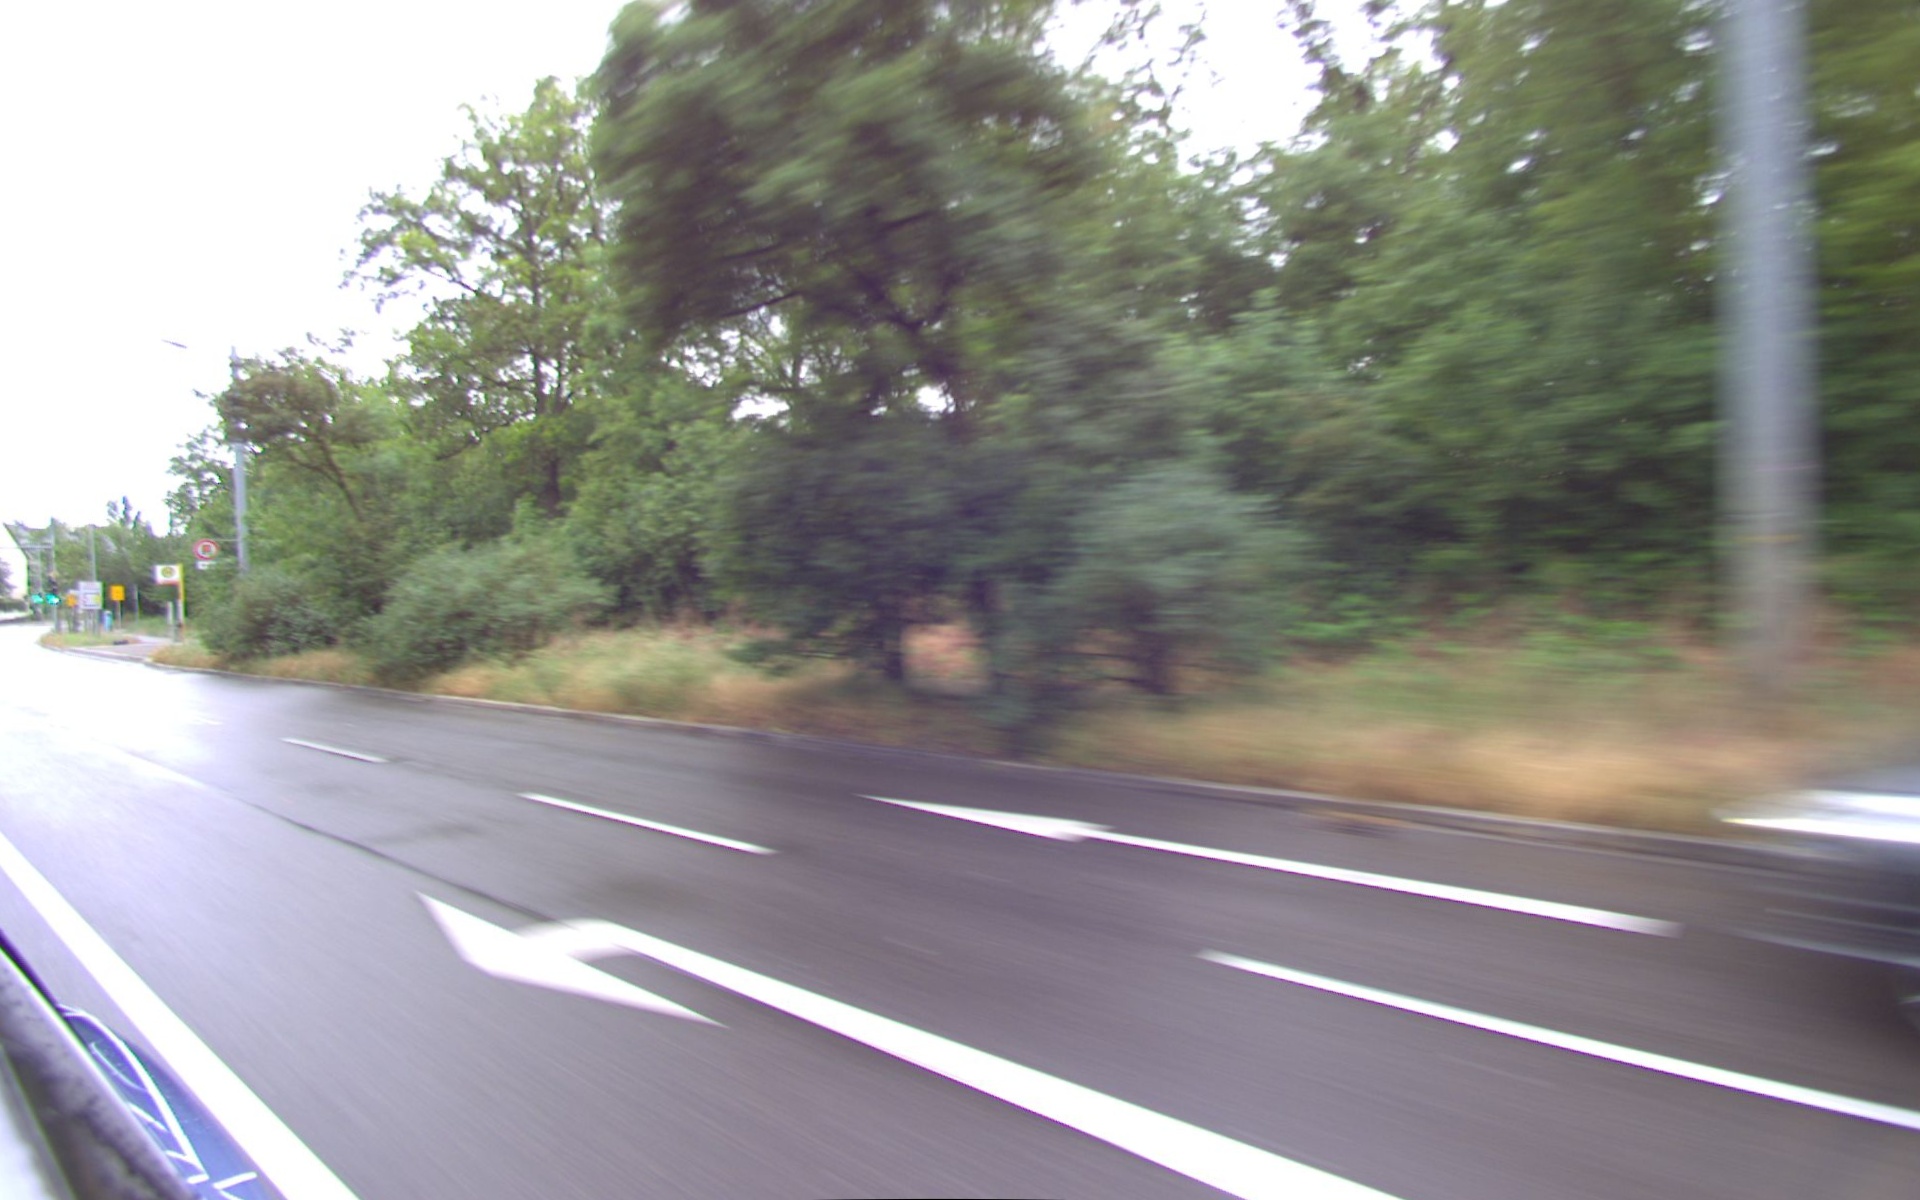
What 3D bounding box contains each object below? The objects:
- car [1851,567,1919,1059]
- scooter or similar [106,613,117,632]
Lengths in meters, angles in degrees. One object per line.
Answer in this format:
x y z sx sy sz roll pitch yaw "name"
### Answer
4.794 0.586 2.364 3.987 1.452 1.582 -2 -1 40 "car"
-57.550 1.531 68.652 0.511 1.221 1.472 -3 1 -38 "scooter or similar"
